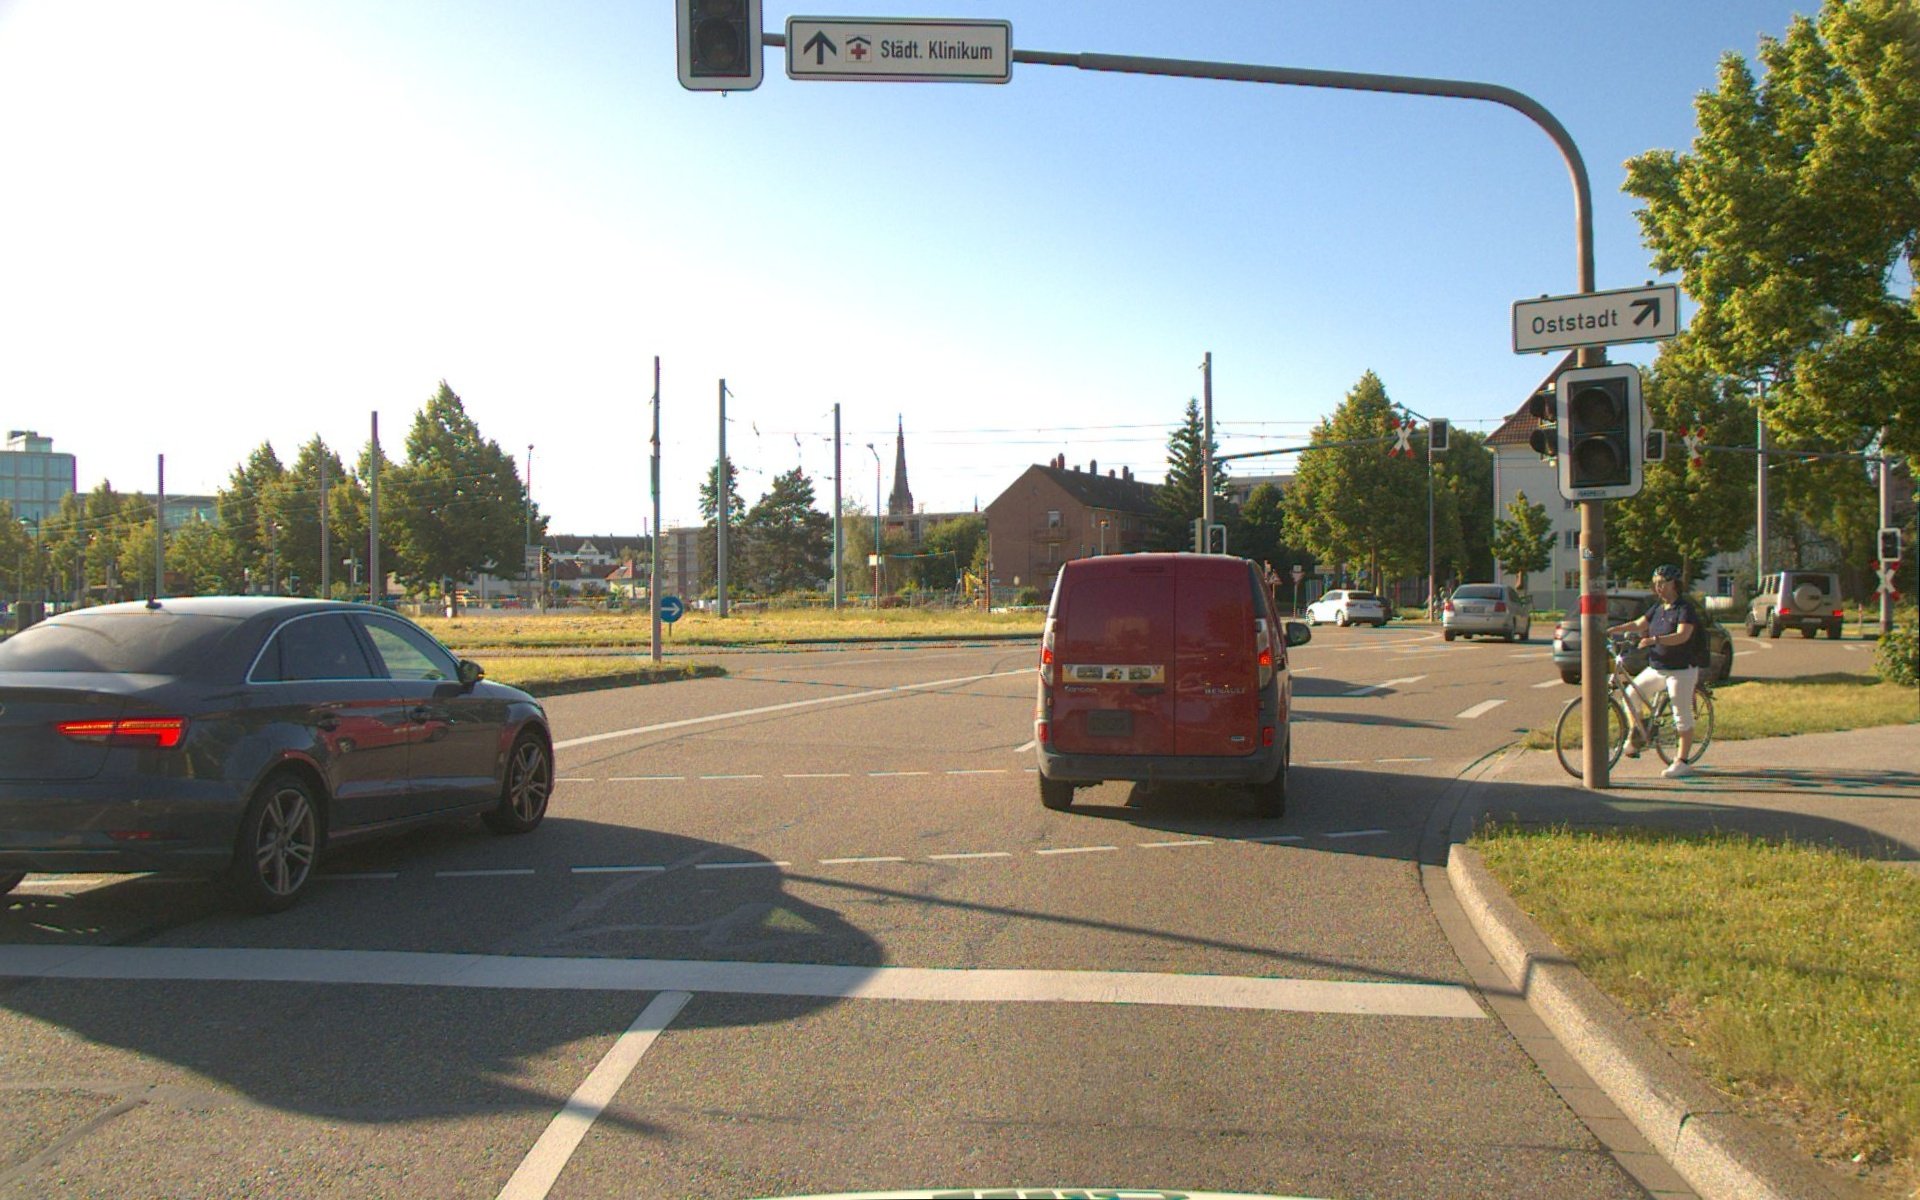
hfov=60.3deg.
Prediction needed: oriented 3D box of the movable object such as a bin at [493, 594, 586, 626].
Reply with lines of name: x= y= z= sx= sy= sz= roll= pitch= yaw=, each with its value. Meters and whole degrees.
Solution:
movable object such as a bin: x=-38.829 y=0.887 z=152.836 sx=7.860 sy=2.831 sz=2.900 roll=0 pitch=0 yaw=-41

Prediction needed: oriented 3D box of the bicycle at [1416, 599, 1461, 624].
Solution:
bicycle: x=24.657 y=0.595 z=85.241 sx=0.874 sy=1.288 sz=2.182 roll=2 pitch=-2 yaw=-35

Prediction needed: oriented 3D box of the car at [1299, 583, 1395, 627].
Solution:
car: x=15.244 y=0.187 z=65.431 sx=1.959 sy=1.667 sz=4.393 roll=-1 pitch=0 yaw=-13

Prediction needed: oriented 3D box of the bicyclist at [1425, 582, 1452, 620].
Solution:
bicyclist: x=24.656 y=0.059 z=85.234 sx=0.875 sy=1.885 sz=1.013 roll=2 pitch=-2 yaw=-36

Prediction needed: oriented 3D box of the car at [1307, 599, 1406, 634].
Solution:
car: x=18.629 y=0.742 z=77.854 sx=1.978 sy=1.566 sz=4.352 roll=-1 pitch=0 yaw=-36

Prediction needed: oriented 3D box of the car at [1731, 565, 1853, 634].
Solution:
car: x=24.567 y=0.014 z=49.051 sx=1.954 sy=1.930 sz=4.756 roll=0 pitch=-1 yaw=10

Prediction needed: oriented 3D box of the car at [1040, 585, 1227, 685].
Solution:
car: x=2.895 y=0.549 z=26.929 sx=1.768 sy=1.487 sz=3.805 roll=1 pitch=0 yaw=27

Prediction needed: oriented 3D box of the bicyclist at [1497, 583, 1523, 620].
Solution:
bicyclist: x=27.765 y=0.082 z=83.515 sx=0.799 sy=1.885 sz=1.019 roll=2 pitch=-2 yaw=-23

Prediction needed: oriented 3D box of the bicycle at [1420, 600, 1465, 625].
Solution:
bicycle: x=25.293 y=0.638 z=86.736 sx=0.874 sy=1.288 sz=2.182 roll=2 pitch=-2 yaw=-35

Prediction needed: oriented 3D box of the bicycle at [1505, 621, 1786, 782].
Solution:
bicycle: x=5.643 y=0.799 z=13.605 sx=2.181 sy=1.175 sz=0.869 roll=-2 pitch=-1 yaw=-25

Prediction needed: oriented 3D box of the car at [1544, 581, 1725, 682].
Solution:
car: x=10.725 y=0.448 z=26.140 sx=1.685 sy=1.461 sz=4.135 roll=-1 pitch=0 yaw=37

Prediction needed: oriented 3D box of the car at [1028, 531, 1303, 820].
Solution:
car: x=1.716 y=0.481 z=12.693 sx=1.764 sy=1.845 sz=3.813 roll=1 pitch=0 yaw=12

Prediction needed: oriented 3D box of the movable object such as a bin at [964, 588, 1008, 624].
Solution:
movable object such as a bin: x=2.038 y=0.505 z=132.675 sx=2.381 sy=2.822 sz=3.981 roll=1 pitch=-1 yaw=-17

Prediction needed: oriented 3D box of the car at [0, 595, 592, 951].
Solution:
car: x=-3.631 y=0.692 z=8.818 sx=1.722 sy=1.404 sz=4.362 roll=0 pitch=0 yaw=10

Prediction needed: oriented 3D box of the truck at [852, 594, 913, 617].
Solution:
truck: x=-7.093 y=0.496 z=150.039 sx=2.151 sy=2.049 sz=6.343 roll=2 pitch=-2 yaw=-40

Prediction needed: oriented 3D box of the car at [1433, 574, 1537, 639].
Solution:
car: x=13.860 y=0.143 z=43.507 sx=1.954 sy=1.602 sz=4.404 roll=-1 pitch=0 yaw=26

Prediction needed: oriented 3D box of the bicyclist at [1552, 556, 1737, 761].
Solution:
bicyclist: x=5.616 y=0.463 z=13.596 sx=1.070 sy=1.589 sz=0.869 roll=-1 pitch=-1 yaw=-25

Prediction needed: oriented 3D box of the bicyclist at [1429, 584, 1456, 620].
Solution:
bicyclist: x=25.300 y=0.101 z=86.746 sx=0.874 sy=1.885 sz=1.014 roll=2 pitch=-2 yaw=-33
